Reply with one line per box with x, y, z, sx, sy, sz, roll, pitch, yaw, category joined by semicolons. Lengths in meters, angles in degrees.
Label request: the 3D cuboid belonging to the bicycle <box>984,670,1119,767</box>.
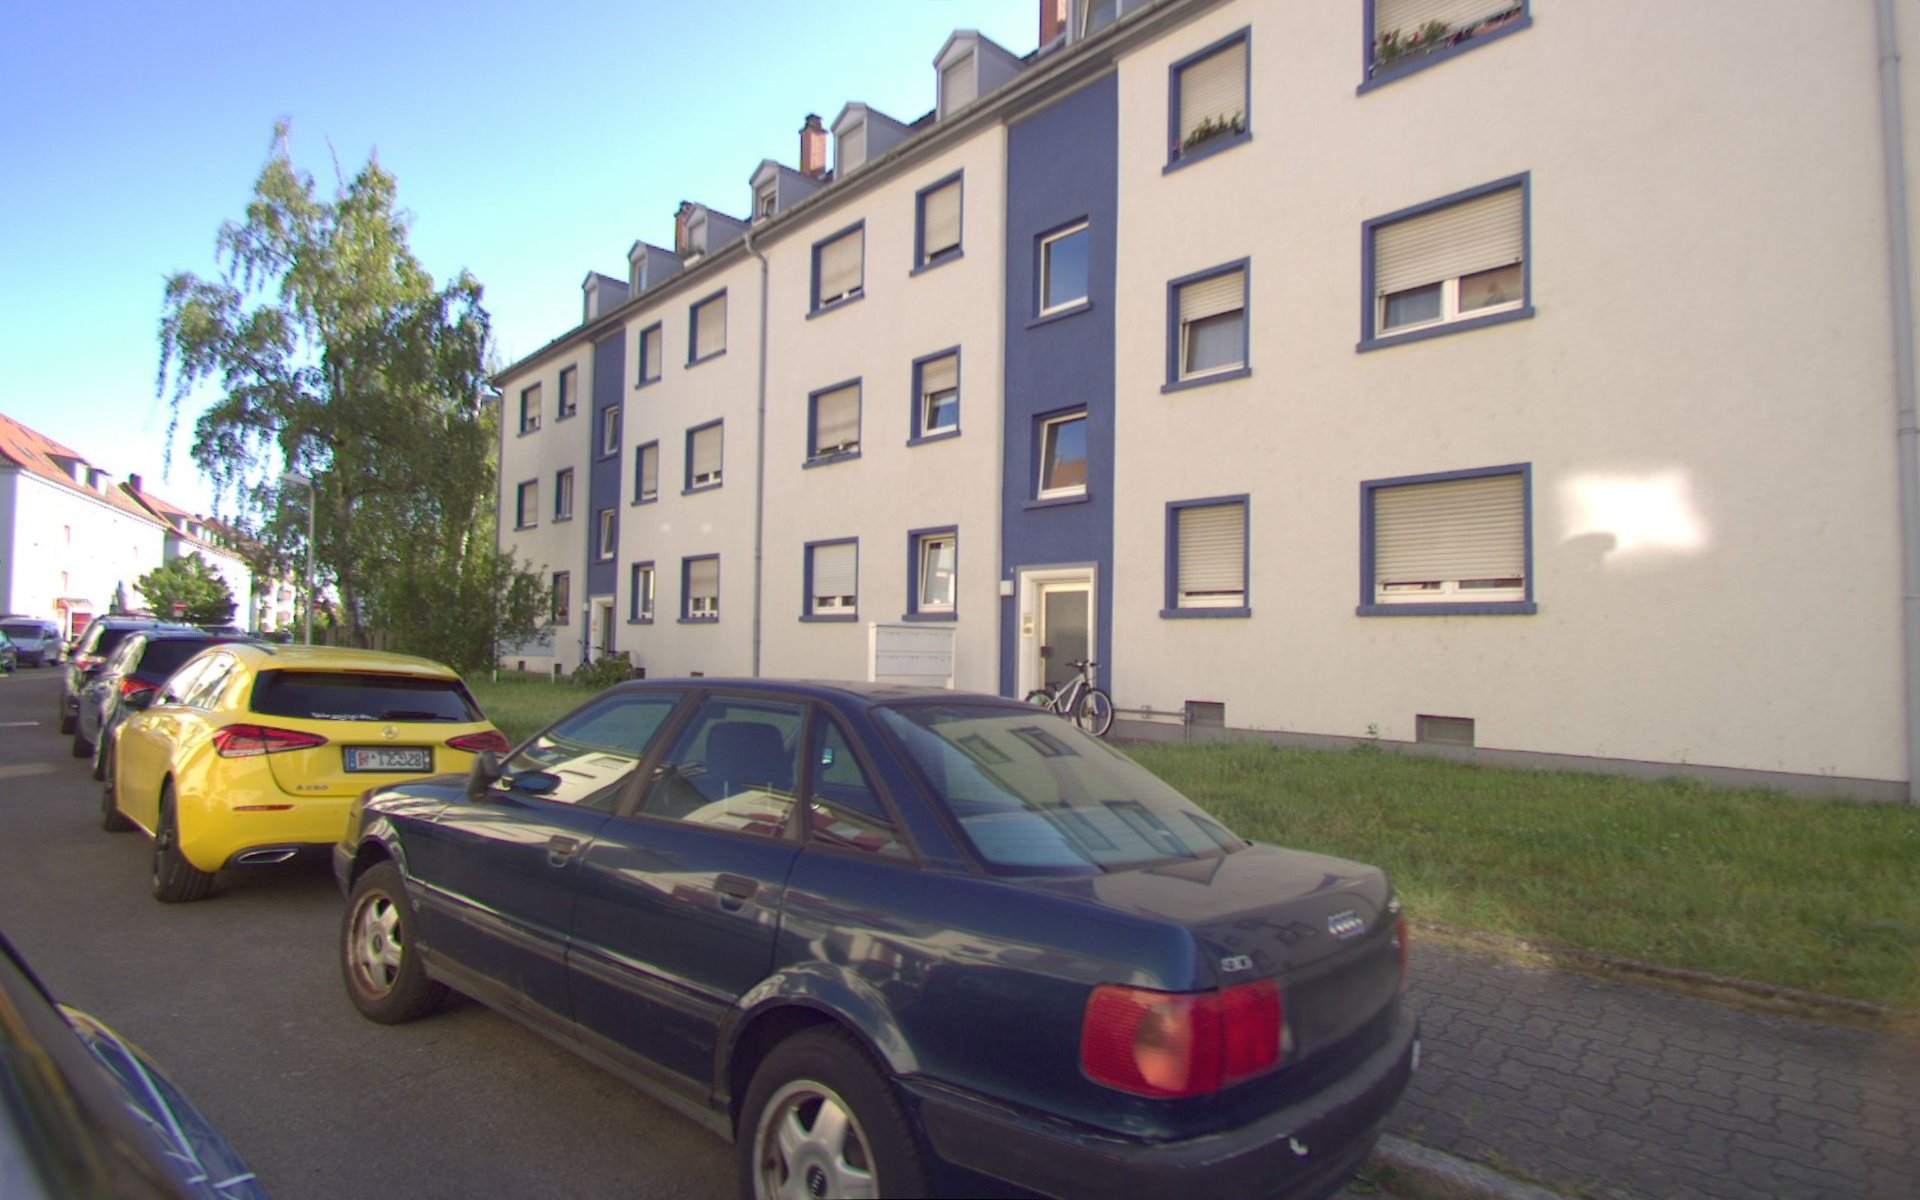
1.198;1.478;12.968;1.796;1.086;0.569;0;-2;-37;bicycle

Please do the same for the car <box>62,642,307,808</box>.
-8.649;1.250;11.150;1.673;1.456;4.024;7;-6;-42;car

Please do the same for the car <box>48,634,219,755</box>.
-12.550;1.355;15.271;1.673;1.572;4.161;5;-5;-42;car

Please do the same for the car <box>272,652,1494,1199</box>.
-0.692;0.978;3.478;4.258;1.476;1.553;-2;-6;40;car

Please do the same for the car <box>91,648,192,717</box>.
-19.862;1.975;24.684;1.535;1.453;3.977;7;-6;-35;car

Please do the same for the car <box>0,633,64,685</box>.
-35.210;2.170;37.809;1.723;1.838;4.143;5;-5;-31;car

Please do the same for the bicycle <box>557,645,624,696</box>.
-8.726;1.675;23.945;1.392;1.161;0.416;6;-5;-44;bicycle

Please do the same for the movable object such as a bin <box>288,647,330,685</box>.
-24.566;2.485;38.206;1.202;1.391;0.770;2;-3;-24;movable object such as a bin

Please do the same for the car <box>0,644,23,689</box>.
-32.301;2.185;33.120;1.655;1.418;4.557;1;-2;-34;car

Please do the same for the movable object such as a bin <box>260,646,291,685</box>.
-25.942;2.473;38.356;0.765;1.403;1.421;3;-4;-29;movable object such as a bin

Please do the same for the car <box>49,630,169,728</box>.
-17.107;1.528;20.379;1.536;1.727;4.344;8;-6;-40;car

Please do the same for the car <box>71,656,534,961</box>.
-4.634;1.124;6.853;4.158;1.400;1.675;-2;-6;44;car
